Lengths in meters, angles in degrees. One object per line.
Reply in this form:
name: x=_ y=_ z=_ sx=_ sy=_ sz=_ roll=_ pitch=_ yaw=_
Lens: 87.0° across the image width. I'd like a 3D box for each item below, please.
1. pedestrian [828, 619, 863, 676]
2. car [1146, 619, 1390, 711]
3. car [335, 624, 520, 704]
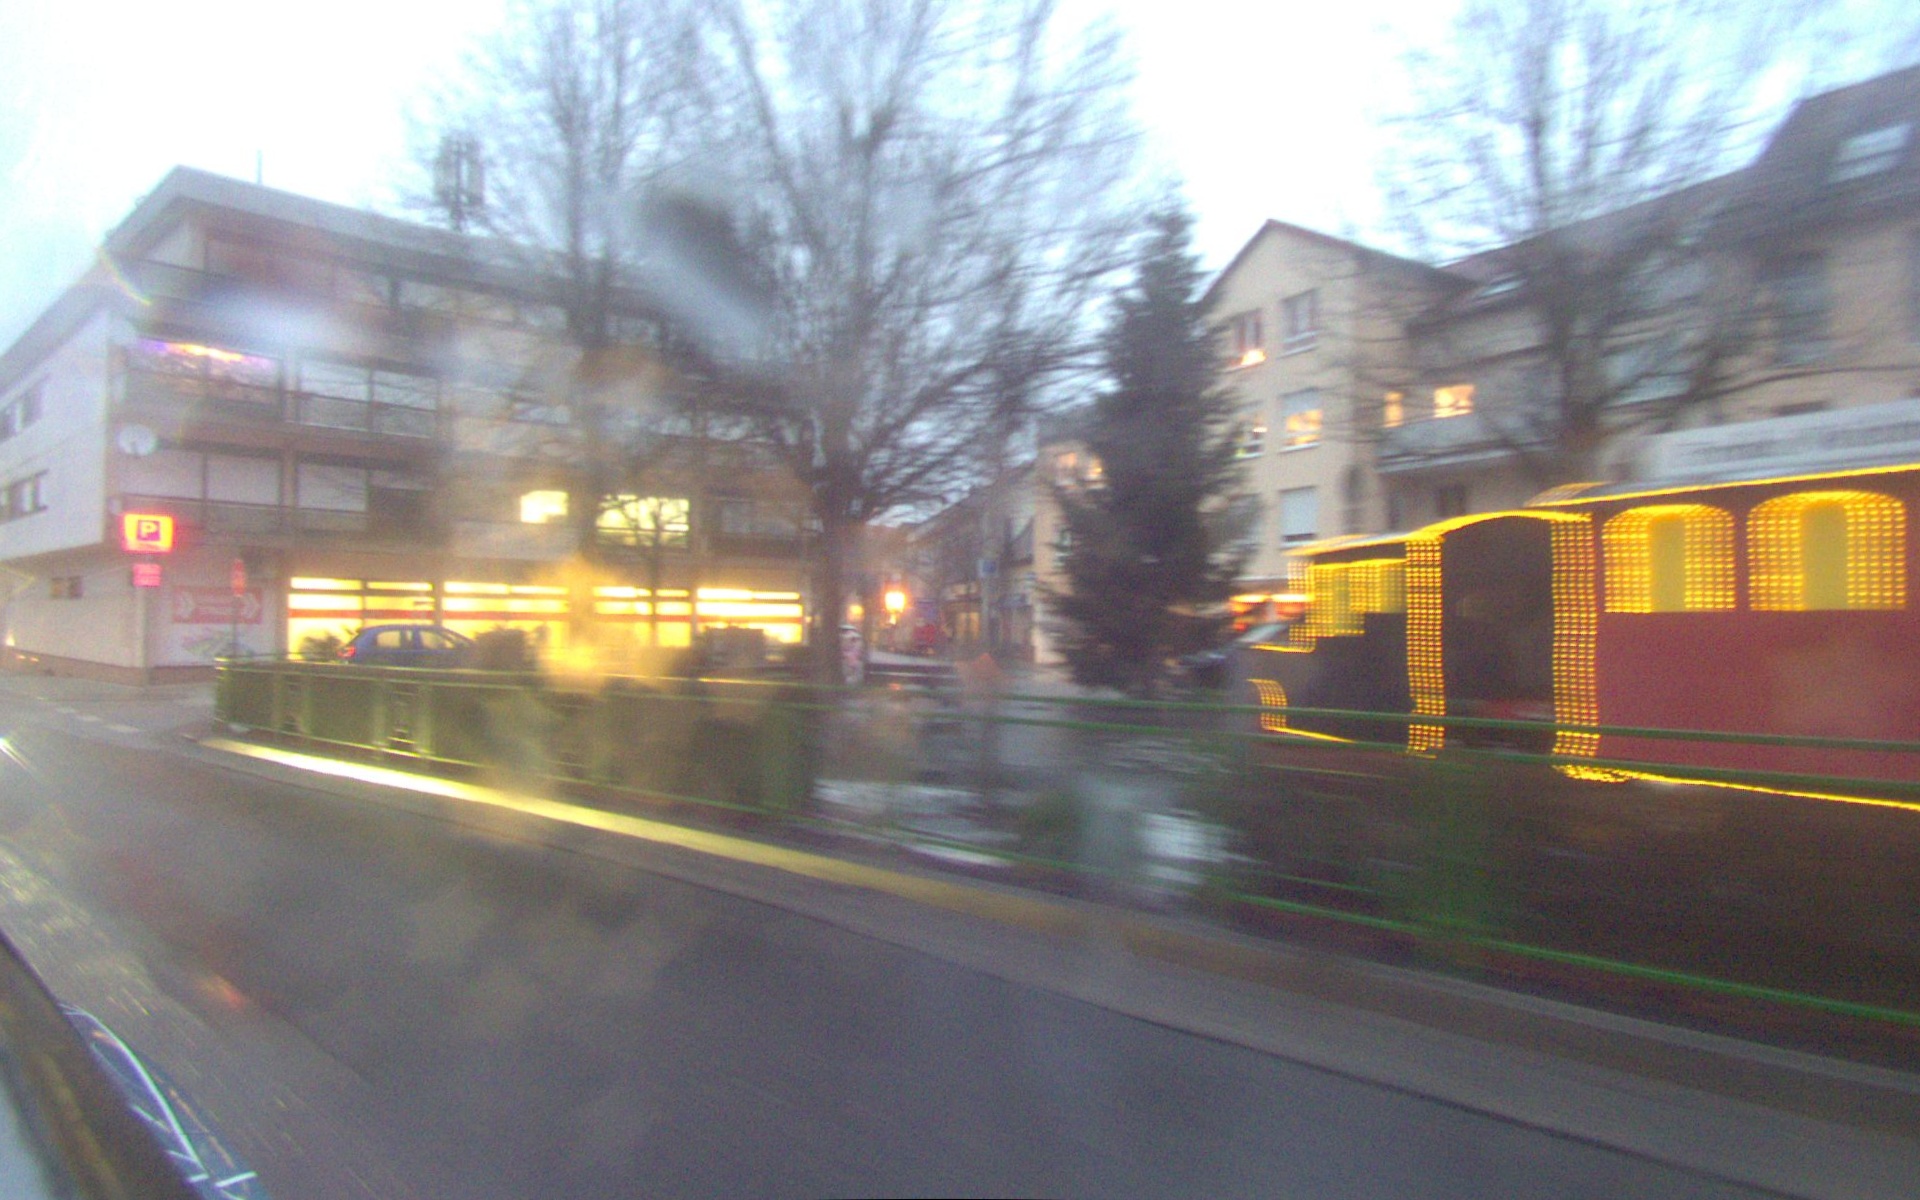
pedestrian: x=-2.786 y=1.135 z=24.544 sx=0.611 sy=1.349 sz=0.568 roll=0 pitch=-2 yaw=-38
car: x=5.696 y=1.149 z=18.787 sx=3.931 sy=1.519 sz=1.928 roll=0 pitch=-2 yaw=-21
car: x=-11.333 y=1.303 z=21.597 sx=3.258 sy=1.519 sz=1.504 roll=0 pitch=-2 yaw=-40
